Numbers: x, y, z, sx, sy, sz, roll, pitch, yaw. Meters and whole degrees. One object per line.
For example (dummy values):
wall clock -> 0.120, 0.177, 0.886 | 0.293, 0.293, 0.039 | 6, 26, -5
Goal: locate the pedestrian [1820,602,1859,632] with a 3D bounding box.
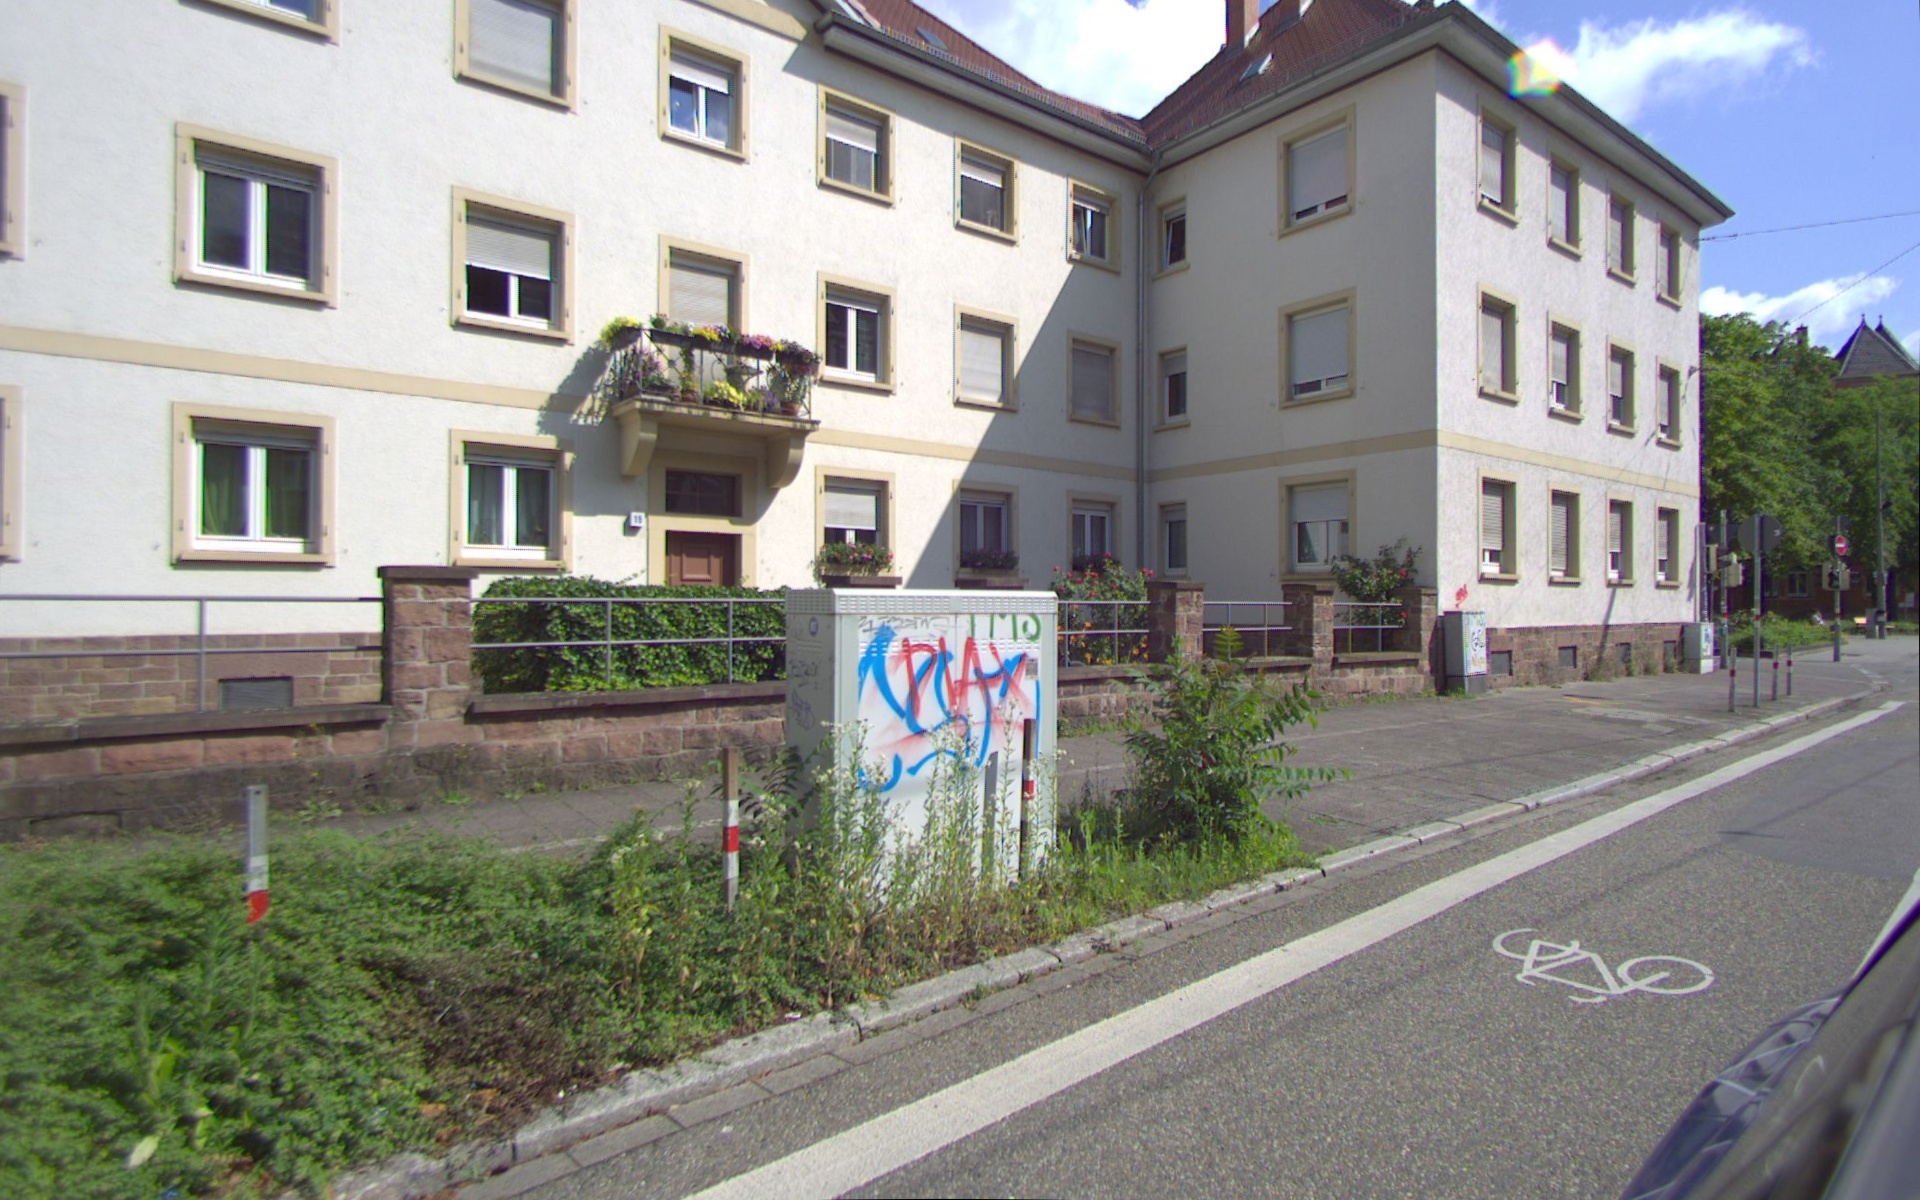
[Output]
pedestrian -> 37.352, 0.712, 42.993 | 0.892, 1.217, 1.158 | 1, 2, -45

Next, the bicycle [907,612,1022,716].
bicycle -> 0.069, 0.763, 12.632 | 1.464, 1.216, 0.505 | 0, -1, -41

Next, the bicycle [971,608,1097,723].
bicycle -> 0.853, 0.704, 11.412 | 1.464, 1.216, 0.506 | 0, -1, -39

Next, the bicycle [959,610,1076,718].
bicycle -> 0.704, 0.733, 12.147 | 1.464, 1.216, 0.505 | 0, -1, -41
